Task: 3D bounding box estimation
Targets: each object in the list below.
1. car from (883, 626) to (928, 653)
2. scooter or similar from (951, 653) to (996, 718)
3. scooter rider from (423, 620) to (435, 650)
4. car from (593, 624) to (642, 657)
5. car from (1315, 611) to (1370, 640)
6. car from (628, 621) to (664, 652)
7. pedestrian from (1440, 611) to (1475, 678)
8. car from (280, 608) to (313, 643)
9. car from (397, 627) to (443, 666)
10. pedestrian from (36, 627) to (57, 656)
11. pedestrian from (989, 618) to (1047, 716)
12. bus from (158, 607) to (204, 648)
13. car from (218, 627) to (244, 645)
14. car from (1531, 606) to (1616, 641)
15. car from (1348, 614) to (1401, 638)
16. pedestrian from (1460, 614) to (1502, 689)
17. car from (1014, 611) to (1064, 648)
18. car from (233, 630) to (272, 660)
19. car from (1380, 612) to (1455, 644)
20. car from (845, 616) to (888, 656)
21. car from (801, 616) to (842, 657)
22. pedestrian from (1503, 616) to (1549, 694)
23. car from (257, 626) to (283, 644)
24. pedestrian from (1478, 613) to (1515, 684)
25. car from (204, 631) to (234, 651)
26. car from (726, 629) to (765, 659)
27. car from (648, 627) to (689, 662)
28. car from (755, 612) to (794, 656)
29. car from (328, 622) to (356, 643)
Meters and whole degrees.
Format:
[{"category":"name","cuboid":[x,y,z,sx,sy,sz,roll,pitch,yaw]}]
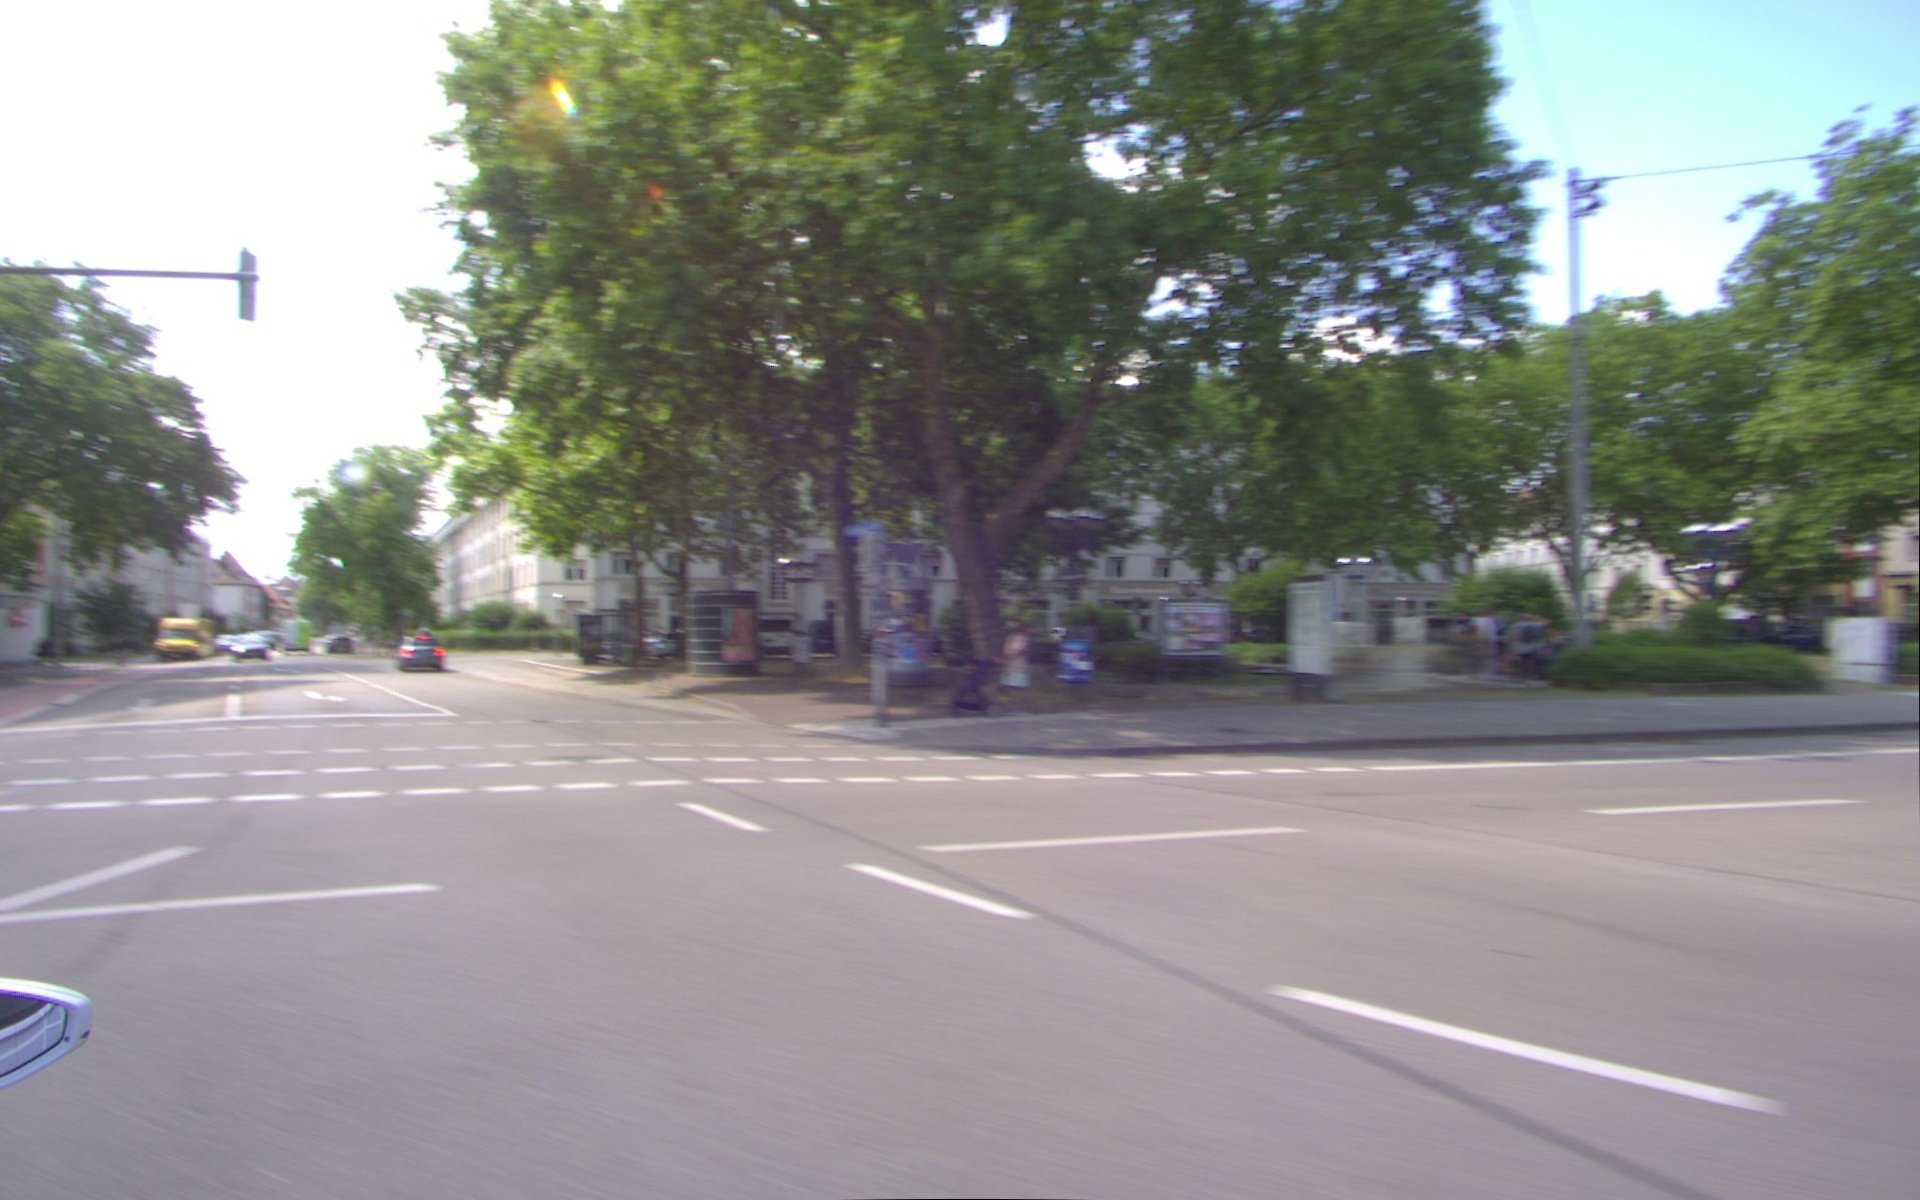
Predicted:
[{"category":"car","cuboid":[-3.064,2.170,55.623,1.963,1.440,3.997,0,-1,-11]},{"category":"scooter or similar","cuboid":[0.232,1.472,17.313,0.695,1.070,0.490,0,0,-10]},{"category":"scooter rider","cuboid":[-32.602,2.140,61.495,0.521,1.836,0.644,0,0,-36]},{"category":"car","cuboid":[-17.901,2.094,52.504,1.997,1.621,4.534,0,-1,-13]},{"category":"car","cuboid":[27.894,1.856,73.172,1.962,1.989,3.998,-1,-1,-10]},{"category":"car","cuboid":[-19.742,2.275,63.039,1.877,1.819,4.715,0,-1,-14]},{"category":"pedestrian","cuboid":[13.478,1.183,27.120,0.690,1.773,0.602,0,0,-35]},{"category":"car","cuboid":[-52.587,1.969,79.345,2.099,2.676,6.287,0,0,-34]},{"category":"car","cuboid":[-23.536,1.985,43.564,1.673,1.558,3.450,0,0,-30]},{"category":"pedestrian","cuboid":[-47.459,2.161,52.042,0.661,1.498,0.573,0,-1,-28]},{"category":"pedestrian","cuboid":[1.006,1.153,17.423,0.905,1.667,0.570,0,0,-10]},{"category":"bus","cuboid":[-53.634,1.875,69.004,2.373,2.744,6.323,0,-1,-37]},{"category":"car","cuboid":[-69.529,3.404,95.502,1.711,1.683,3.727,0,0,-32]},{"category":"car","cuboid":[33.670,1.284,55.091,1.834,1.823,3.998,-1,-1,-10]},{"category":"car","cuboid":[30.459,1.884,73.742,1.704,1.719,3.998,-1,-1,-10]},{"category":"pedestrian","cuboid":[12.637,1.230,24.295,0.661,1.787,0.688,0,0,-35]},{"category":"car","cuboid":[4.526,1.674,58.021,1.962,2.040,3.998,-1,-1,-10]},{"category":"car","cuboid":[-42.646,2.686,60.397,1.768,1.683,4.288,0,0,-33]},{"category":"car","cuboid":[28.362,1.708,62.267,2.064,1.930,4.489,-1,-1,-10]},{"category":"car","cuboid":[-5.123,1.930,54.547,1.963,2.103,3.997,0,-1,-11]},{"category":"car","cuboid":[-7.576,1.955,54.397,1.963,2.103,3.997,0,-1,-11]},{"category":"pedestrian","cuboid":[13.063,1.246,23.117,0.711,1.745,0.688,0,0,-35]},{"category":"car","cuboid":[-66.553,3.371,96.611,1.842,1.683,3.727,0,0,-32]},{"category":"pedestrian","cuboid":[13.663,1.210,25.507,0.690,1.773,0.602,0,0,-36]},{"category":"car","cuboid":[-62.141,3.412,84.030,1.827,1.582,3.975,0,-1,-34]},{"category":"car","cuboid":[-10.594,2.139,49.319,1.445,1.407,3.059,0,-1,-20]},{"category":"car","cuboid":[-15.545,2.322,53.527,1.877,1.712,4.534,0,-1,-13]},{"category":"car","cuboid":[-9.915,1.789,53.509,1.963,2.211,4.254,0,-1,-11]},{"category":"car","cuboid":[-48.976,2.574,79.277,1.708,1.575,3.610,0,-1,-35]}]
